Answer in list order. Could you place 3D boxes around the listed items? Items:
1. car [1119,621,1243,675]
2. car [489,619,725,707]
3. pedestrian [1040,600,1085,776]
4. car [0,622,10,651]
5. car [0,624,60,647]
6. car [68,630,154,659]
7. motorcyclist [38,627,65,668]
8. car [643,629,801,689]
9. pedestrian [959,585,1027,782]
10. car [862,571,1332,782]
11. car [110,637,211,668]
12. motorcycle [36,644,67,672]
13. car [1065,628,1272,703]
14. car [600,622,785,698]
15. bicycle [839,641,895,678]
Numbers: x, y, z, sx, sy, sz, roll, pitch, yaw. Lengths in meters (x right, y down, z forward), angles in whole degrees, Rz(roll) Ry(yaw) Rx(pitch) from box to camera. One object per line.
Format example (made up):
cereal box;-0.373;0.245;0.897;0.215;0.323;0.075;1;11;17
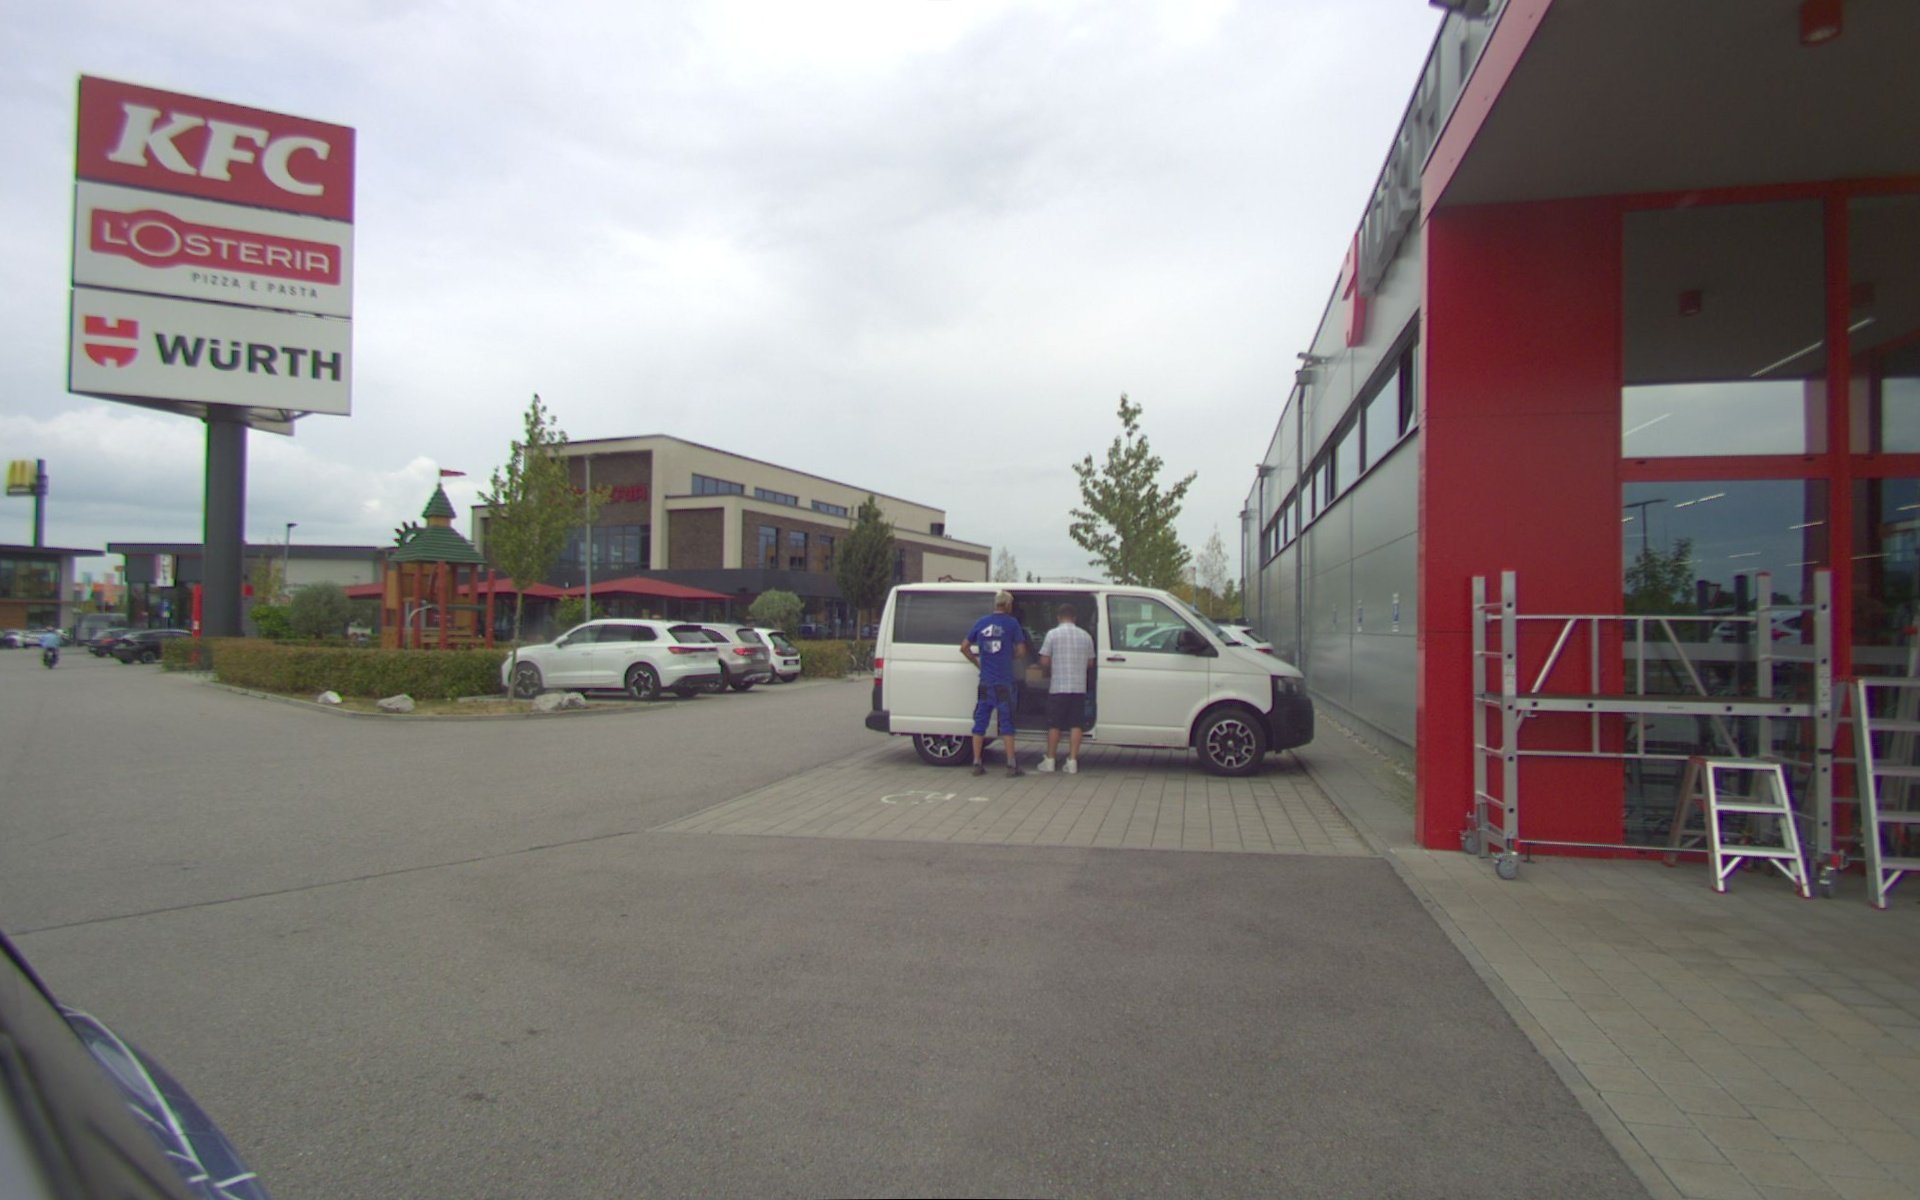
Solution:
car;7.366;1.587;34.088;3.957;1.719;1.993;0;-1;11
car;-7.610;1.316;21.872;4.700;1.762;1.749;-1;-2;17
pedestrian;1.038;0.864;10.184;0.357;1.715;0.582;-1;-2;16
car;-69.035;2.522;70.310;3.932;2.029;2.006;0;-1;-16
car;-69.071;2.608;74.375;3.932;1.674;2.006;0;-1;-16
car;-56.855;2.942;67.831;1.992;1.852;3.959;-1;-1;30
motorcyclist;-37.387;1.950;41.636;1.038;1.651;0.743;-1;-2;45
car;-6.613;1.629;28.434;3.947;1.577;1.998;0;-1;3
pedestrian;0.333;0.799;9.959;0.618;1.870;0.587;0;-1;6
car;1.447;0.771;11.169;4.709;2.029;1.930;0;-1;12
car;-37.159;2.410;47.118;1.496;1.305;3.402;-1;-2;35
motorcycle;-37.328;2.377;41.591;2.150;1.083;0.805;-2;-3;45
car;4.670;1.413;22.645;4.375;1.567;1.748;-1;-2;17
car;-6.462;1.403;24.575;3.965;1.719;1.900;-1;-1;17
bicycle;-3.149;1.998;34.385;1.780;1.228;0.692;0;-1;8
